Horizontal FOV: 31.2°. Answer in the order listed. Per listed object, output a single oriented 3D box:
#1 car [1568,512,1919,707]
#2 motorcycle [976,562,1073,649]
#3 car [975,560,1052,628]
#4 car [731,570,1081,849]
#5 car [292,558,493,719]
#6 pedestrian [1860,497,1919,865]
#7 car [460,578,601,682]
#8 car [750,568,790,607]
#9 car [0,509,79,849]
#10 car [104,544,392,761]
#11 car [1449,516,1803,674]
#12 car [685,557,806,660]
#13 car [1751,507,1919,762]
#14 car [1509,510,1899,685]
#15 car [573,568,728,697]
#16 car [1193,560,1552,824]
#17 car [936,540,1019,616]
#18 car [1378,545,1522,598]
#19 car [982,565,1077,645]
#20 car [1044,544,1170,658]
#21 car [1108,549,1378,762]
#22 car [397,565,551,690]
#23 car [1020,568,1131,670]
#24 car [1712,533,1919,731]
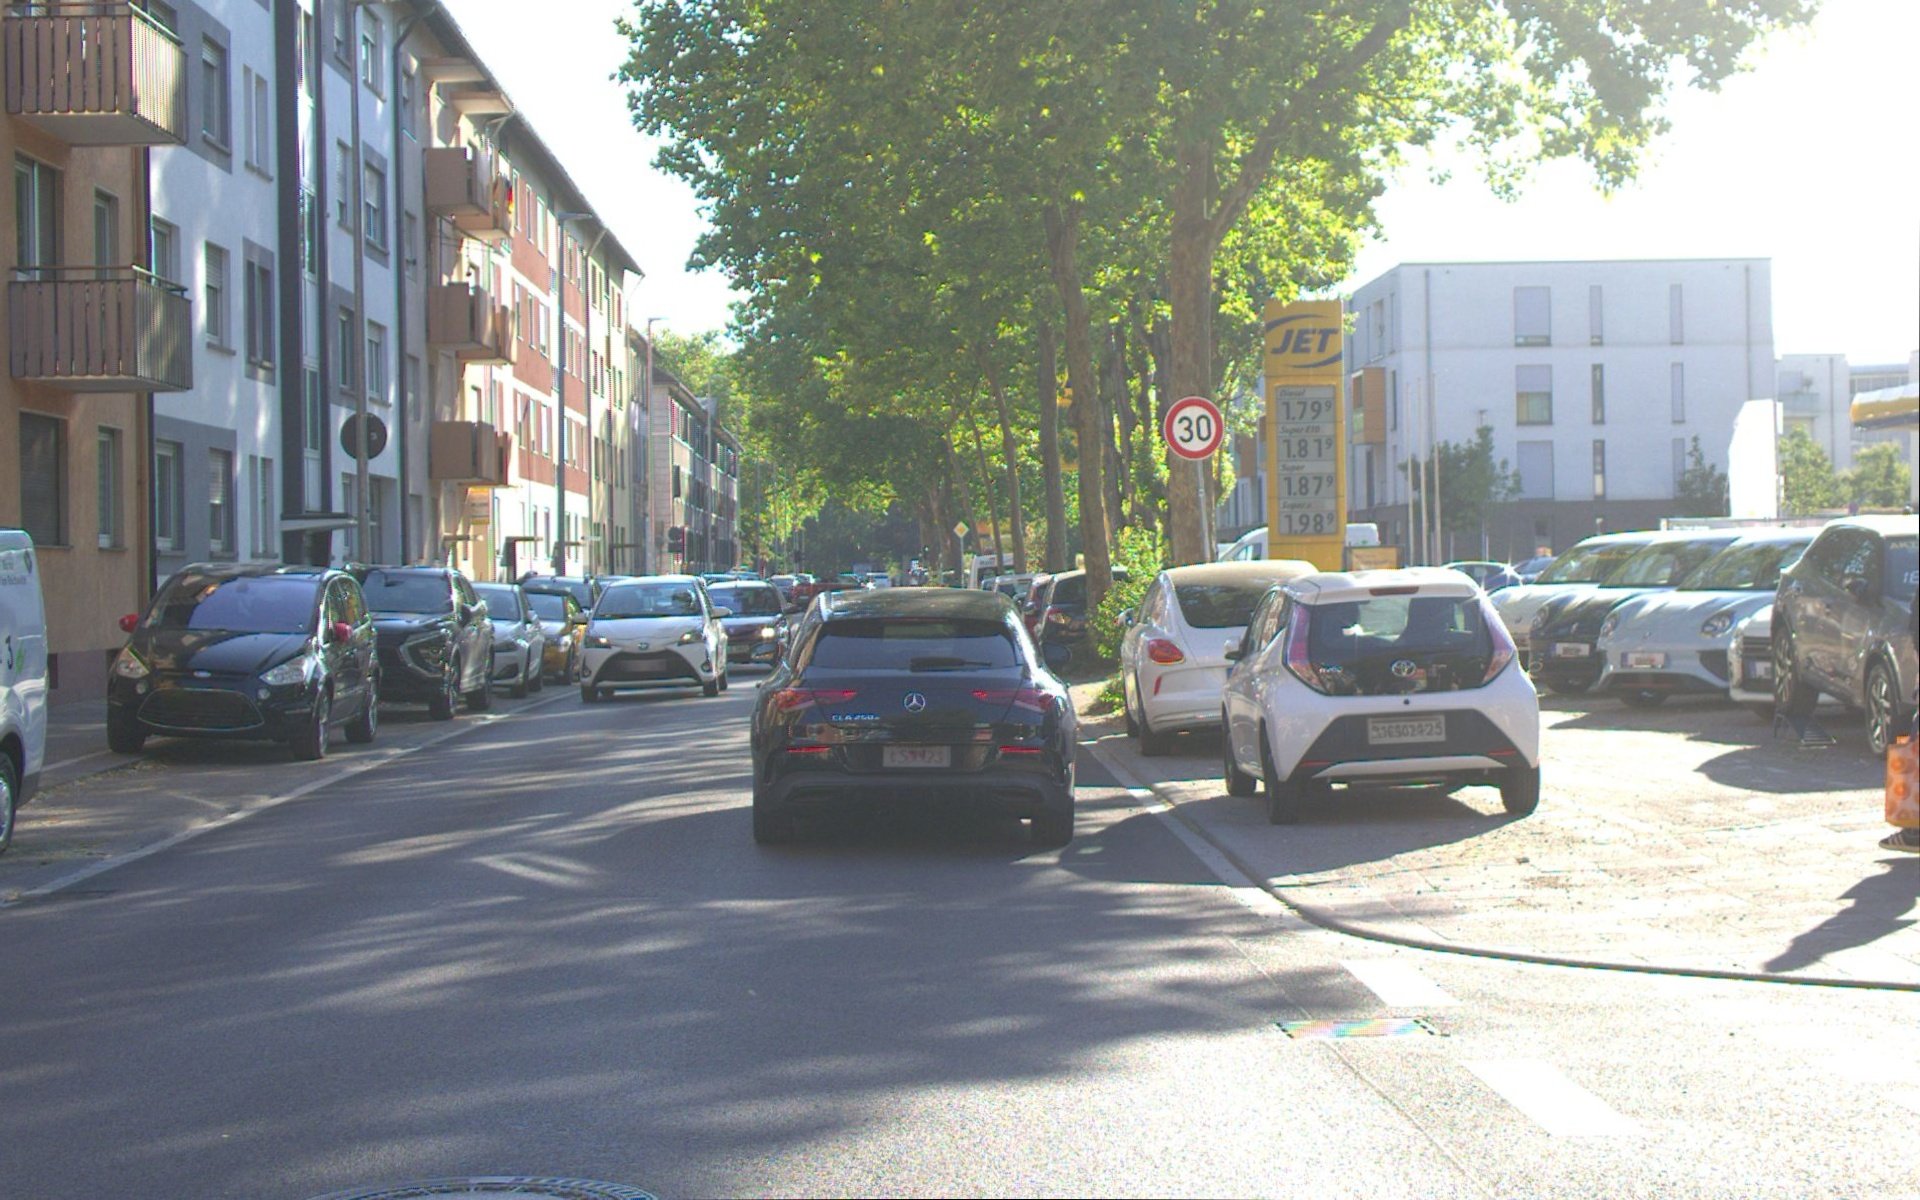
[{"bbox_3d":[7.551,0.042,31.377,3.808,1.604,1.741,-3,2,-36],"label":"car"},{"bbox_3d":[1.171,0.109,62.246,1.641,1.552,0.612,1,0,-22],"label":"motorcycle"},{"bbox_3d":[1.249,-0.154,81.535,1.633,1.552,3.601,1,0,-2],"label":"car"},{"bbox_3d":[-0.220,0.561,20.207,1.744,1.438,3.968,1,1,3],"label":"car"},{"bbox_3d":[-6.200,0.374,37.933,1.596,1.635,4.412,1,1,-2],"label":"car"},{"bbox_3d":[4.668,0.369,16.364,0.692,1.717,0.721,-1,1,13],"label":"pedestrian"},{"bbox_3d":[-6.338,0.408,51.096,1.596,1.429,4.217,1,1,-1],"label":"car"},{"bbox_3d":[-9.852,-0.620,178.421,1.907,1.941,4.000,0,-1,-1],"label":"car"},{"bbox_3d":[-6.259,0.455,18.241,1.734,1.900,5.209,0,1,1],"label":"car"},{"bbox_3d":[-6.296,0.403,30.858,1.745,1.781,4.550,1,1,-2],"label":"car"},{"bbox_3d":[7.420,-0.077,38.172,3.808,1.573,1.746,-3,2,-38],"label":"car"},{"bbox_3d":[-3.404,0.106,55.197,1.663,1.518,4.412,-2,1,-1],"label":"car"},{"bbox_3d":[7.050,0.181,24.599,1.752,1.664,4.158,-1,1,-1],"label":"car"},{"bbox_3d":[7.486,-0.050,34.470,3.808,1.573,1.741,-3,2,-38],"label":"car"},{"bbox_3d":[-3.850,0.375,43.265,1.639,1.518,3.934,0,1,-1],"label":"car"},{"bbox_3d":[2.534,0.530,21.967,1.635,1.463,4.021,-3,0,-2],"label":"car"},{"bbox_3d":[0.466,-0.584,94.767,1.993,2.007,4.000,0,-1,-4],"label":"car"},{"bbox_3d":[14.593,-0.835,102.453,3.986,1.524,1.807,0,-1,-2],"label":"car"},{"bbox_3d":[1.389,0.095,69.477,1.722,1.552,3.601,1,0,-2],"label":"car"},{"bbox_3d":[2.105,0.011,50.090,1.559,1.590,3.601,1,0,-2],"label":"car"},{"bbox_3d":[2.280,0.423,28.777,1.810,1.533,4.583,-4,0,0],"label":"car"},{"bbox_3d":[-6.309,0.326,44.980,1.547,1.518,4.005,1,1,-2],"label":"car"},{"bbox_3d":[1.857,0.298,56.035,1.559,1.590,3.601,1,0,-2],"label":"car"},{"bbox_3d":[8.239,0.207,28.640,3.807,1.540,1.662,-2,1,-34],"label":"car"}]
